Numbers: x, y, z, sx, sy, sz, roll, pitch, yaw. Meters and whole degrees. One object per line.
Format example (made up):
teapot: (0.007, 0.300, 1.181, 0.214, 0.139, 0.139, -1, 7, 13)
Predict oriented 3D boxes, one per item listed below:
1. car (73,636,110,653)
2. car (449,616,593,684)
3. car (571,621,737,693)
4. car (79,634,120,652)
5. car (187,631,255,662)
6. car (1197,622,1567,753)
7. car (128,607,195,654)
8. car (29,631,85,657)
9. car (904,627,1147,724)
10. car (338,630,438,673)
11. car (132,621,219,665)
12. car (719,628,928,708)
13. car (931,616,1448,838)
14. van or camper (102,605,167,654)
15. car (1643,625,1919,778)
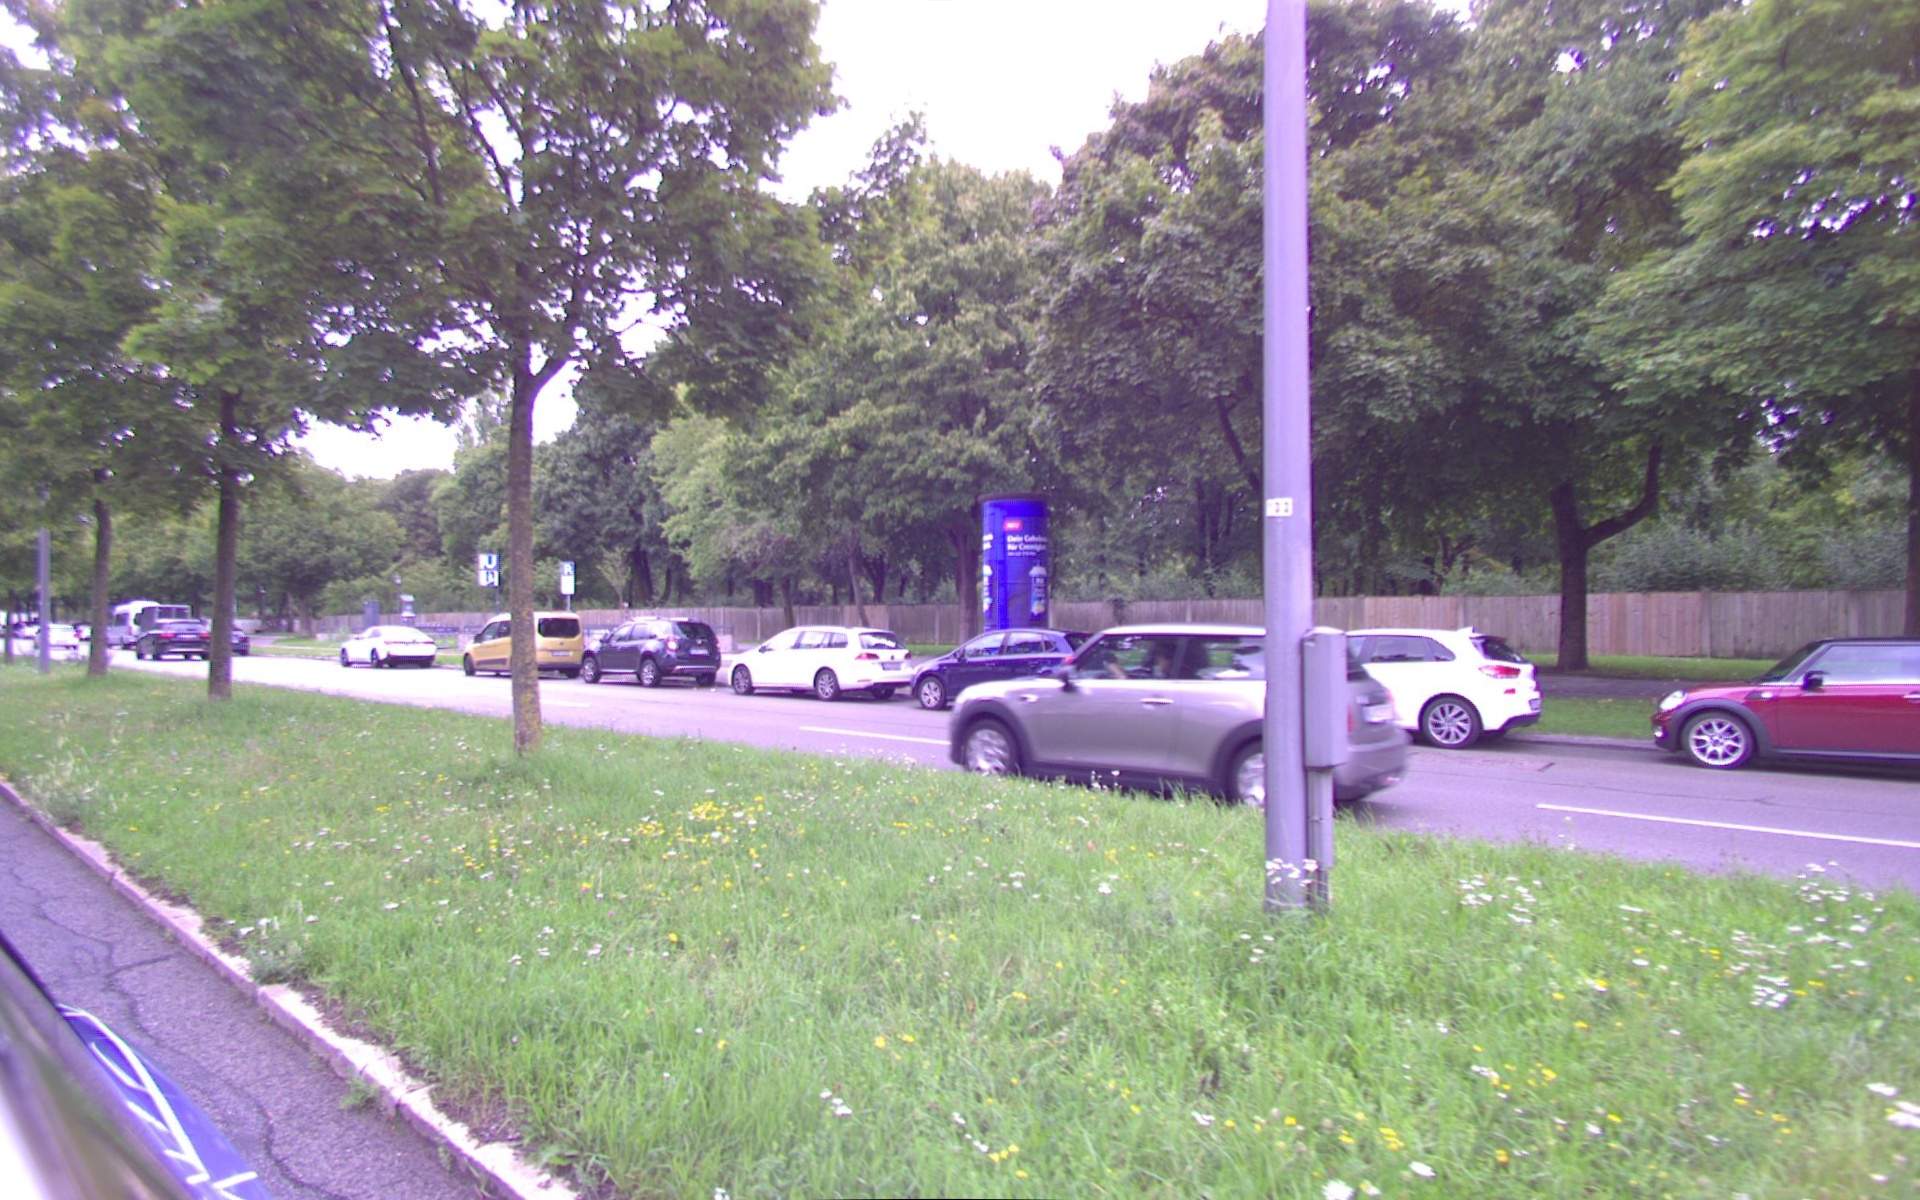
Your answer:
car: (-74.330, 3.812, 86.604, 4.036, 1.420, 1.696, -1, -3, 39)
car: (-12.574, 1.393, 28.890, 4.528, 1.784, 1.839, -1, -3, 39)
car: (-7.608, 1.356, 25.017, 4.036, 1.628, 1.982, -1, -3, 38)
car: (-67.444, 3.363, 79.288, 4.036, 1.420, 1.696, -1, -3, 39)
car: (-36.431, 2.269, 49.863, 4.036, 1.420, 1.696, -1, -3, 39)
car: (5.547, 1.084, 13.627, 4.258, 1.488, 1.802, -2, -4, 42)
car: (-45.670, 1.753, 57.853, 4.494, 2.611, 1.974, -1, -3, 39)
car: (-53.240, 2.603, 59.634, 4.497, 1.467, 1.842, -1, -3, 40)
car: (1.065, 1.224, 17.259, 3.783, 1.457, 1.804, -1, -4, 39)
car: (-20.317, 1.799, 35.899, 4.036, 1.454, 1.696, -1, -3, 39)
car: (-31.945, 1.736, 41.166, 4.497, 1.682, 1.842, -1, -3, 40)
car: (-2.873, 1.319, 20.821, 4.295, 1.481, 1.804, -1, -3, 39)
car: (1.726, 0.876, 8.259, 3.765, 1.393, 1.700, -2, -4, 41)
van or camper: (-49.517, 1.748, 60.657, 4.926, 2.829, 1.974, -1, -3, 39)
car: (9.286, 0.994, 10.298, 3.685, 1.433, 1.632, -2, -4, 41)
